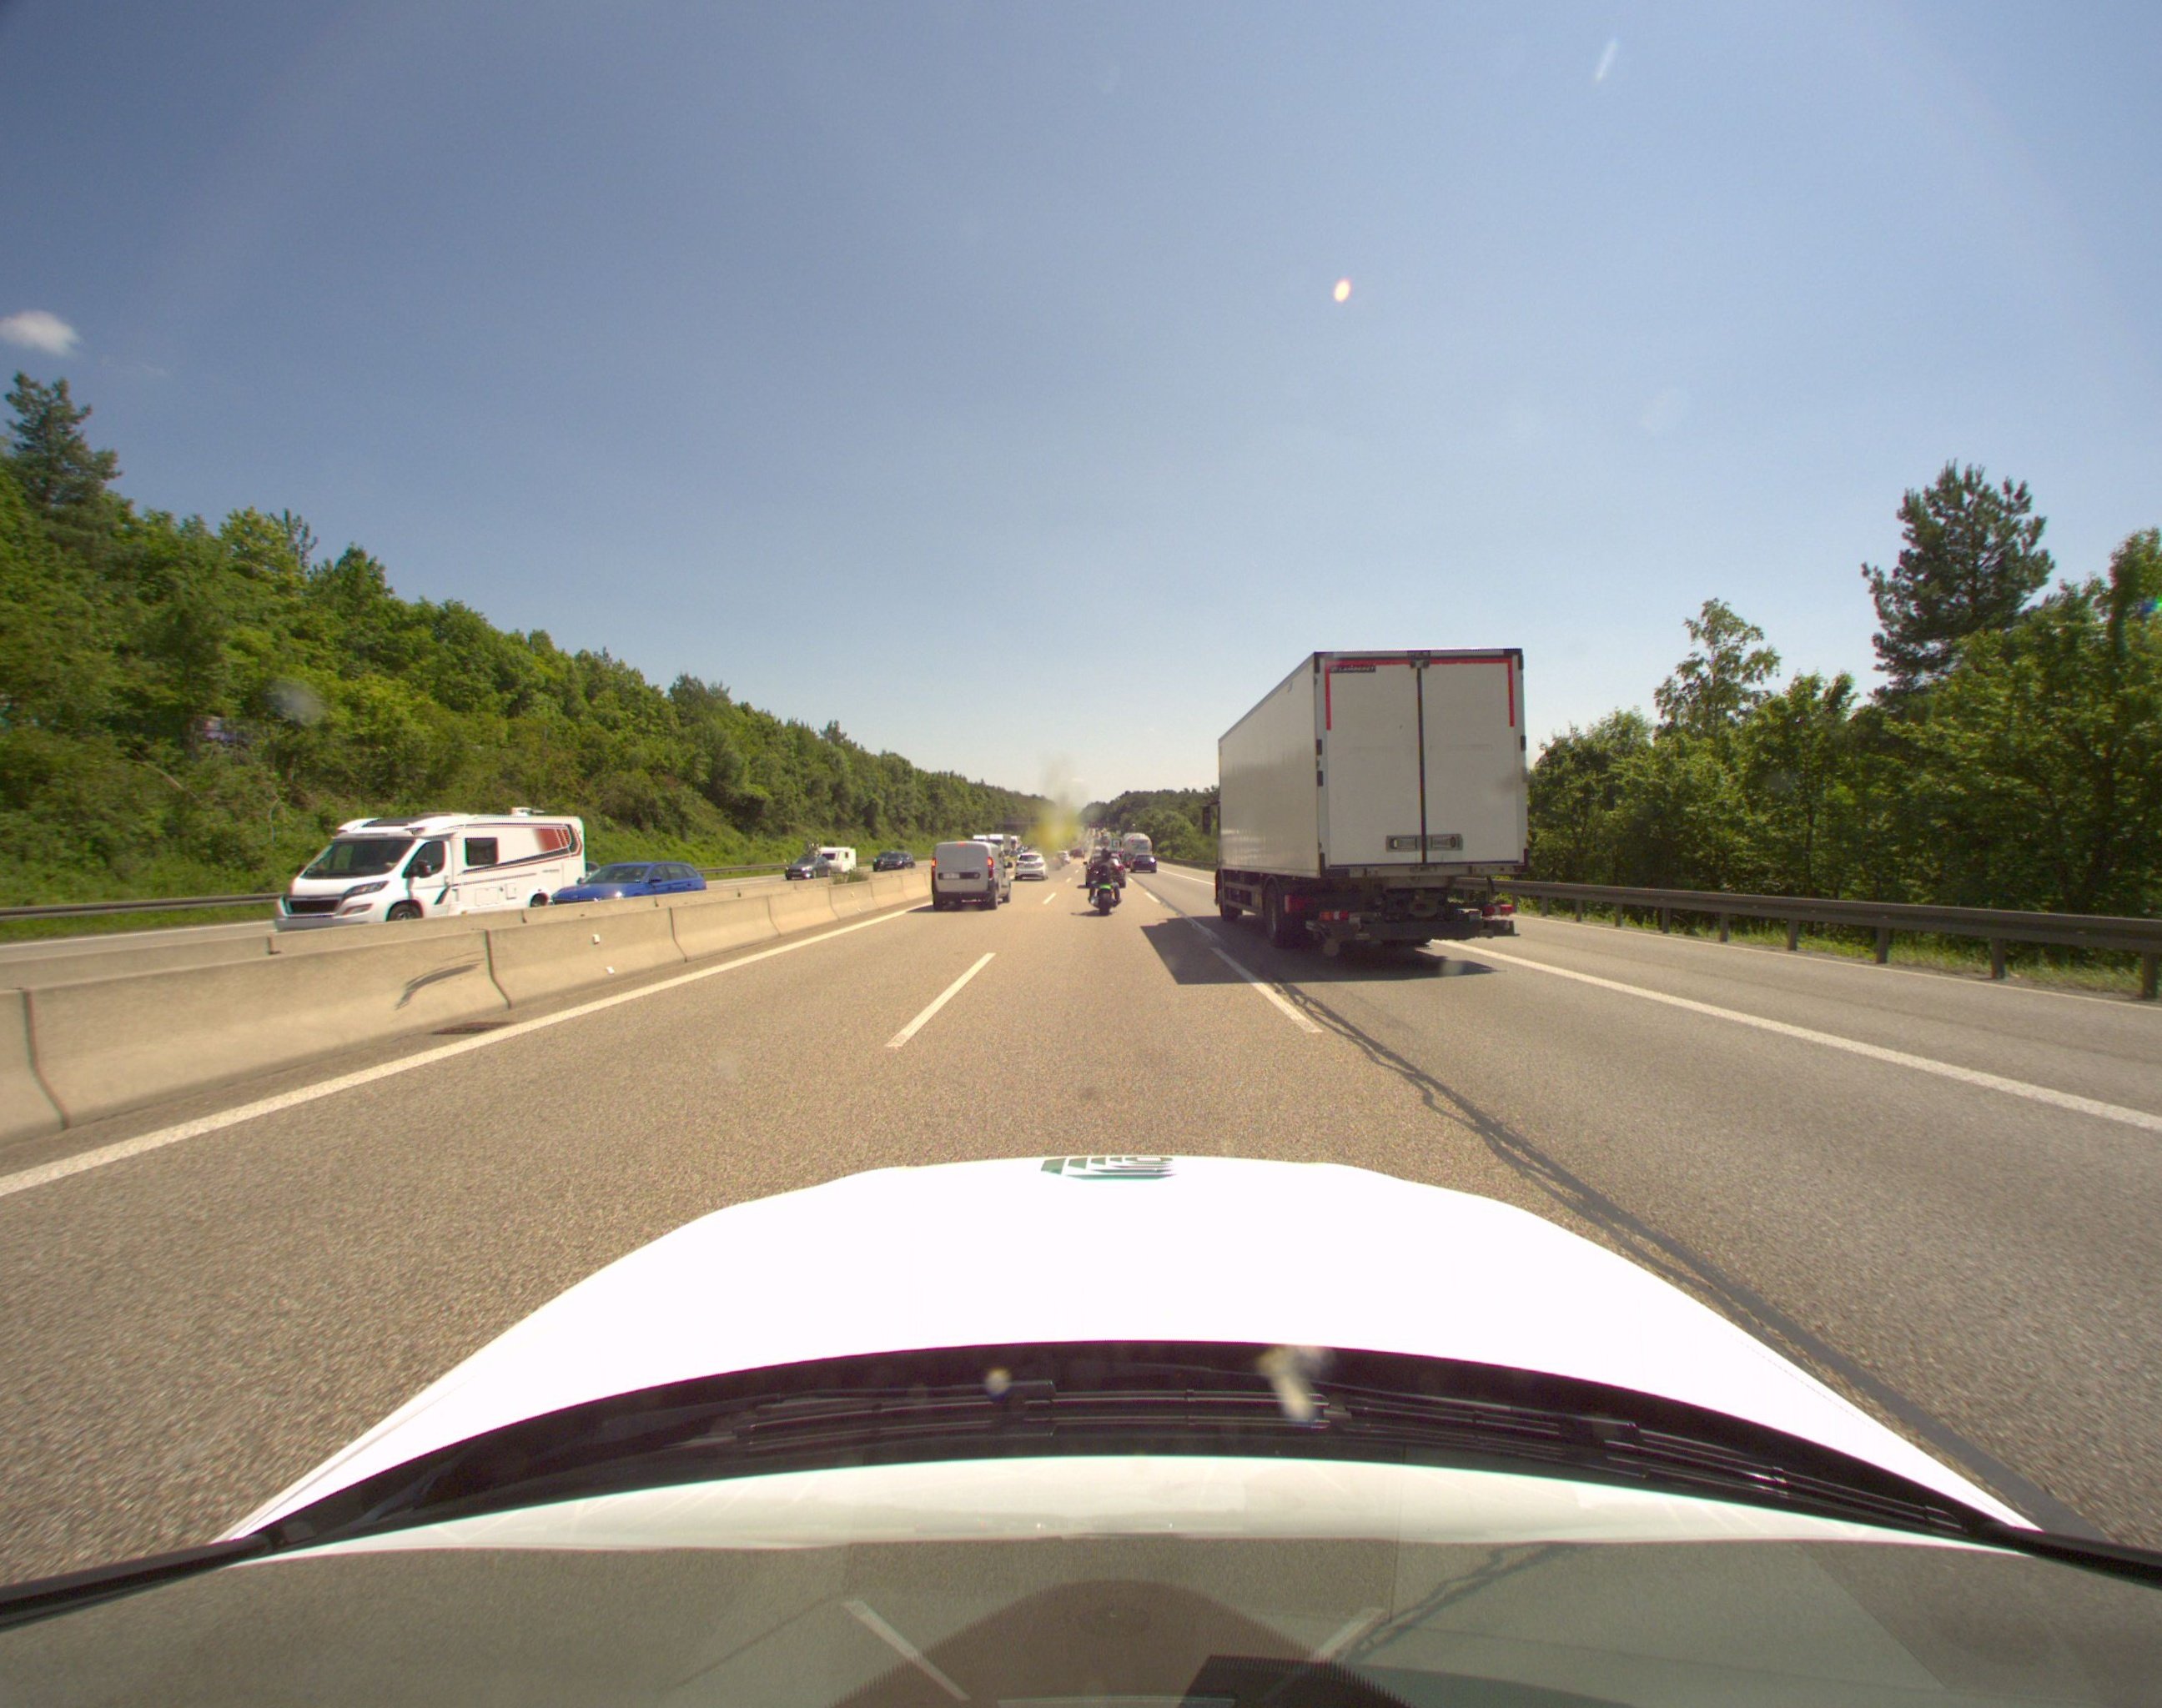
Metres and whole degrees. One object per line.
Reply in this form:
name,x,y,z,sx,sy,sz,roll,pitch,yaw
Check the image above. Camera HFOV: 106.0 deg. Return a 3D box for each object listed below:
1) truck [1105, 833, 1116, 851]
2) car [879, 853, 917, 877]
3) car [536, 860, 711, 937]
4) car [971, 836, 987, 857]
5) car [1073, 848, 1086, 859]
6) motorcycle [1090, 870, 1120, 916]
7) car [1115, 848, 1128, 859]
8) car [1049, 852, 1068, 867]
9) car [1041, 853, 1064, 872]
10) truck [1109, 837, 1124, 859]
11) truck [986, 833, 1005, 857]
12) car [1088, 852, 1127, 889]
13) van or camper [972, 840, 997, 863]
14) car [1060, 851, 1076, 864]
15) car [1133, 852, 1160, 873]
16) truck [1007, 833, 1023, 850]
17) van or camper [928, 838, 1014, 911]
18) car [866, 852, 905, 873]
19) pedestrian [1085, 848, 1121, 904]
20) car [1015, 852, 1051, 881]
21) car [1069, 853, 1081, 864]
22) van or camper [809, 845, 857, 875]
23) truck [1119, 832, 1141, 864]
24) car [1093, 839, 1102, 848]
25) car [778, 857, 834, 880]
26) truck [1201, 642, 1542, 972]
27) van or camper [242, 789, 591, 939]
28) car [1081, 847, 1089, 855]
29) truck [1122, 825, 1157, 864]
truck,8.748,-3.437,239.787,3.022,5.139,9.985,2,1,1
car,-13.196,0.770,58.882,1.687,1.683,4.197,-1,0,1
car,-10.554,0.948,19.183,1.705,1.538,4.129,-1,0,1
car,-19.401,-1.392,155.284,2.440,3.873,4.566,-1,0,1
car,-0.230,-0.121,134.132,1.873,1.859,4.001,1,0,1
motorcycle,0.616,0.954,20.530,0.689,1.015,2.123,1,0,2
car,6.065,-0.041,121.409,1.781,1.555,3.804,1,1,1
car,-2.271,0.567,83.090,1.693,1.478,4.001,1,1,1
car,-2.286,0.679,66.165,1.693,1.478,4.001,1,1,1
truck,7.671,-1.398,178.200,3.022,4.542,9.985,2,1,1
truck,-15.368,-1.549,146.640,2.830,4.214,5.661,0,0,1
car,1.227,0.693,36.392,1.525,1.510,4.005,-1,0,5
van or camper,-12.484,-0.341,105.793,2.222,2.761,6.839,-1,0,1
car,-1.523,0.389,95.565,1.693,1.478,4.001,1,1,1
car,4.972,0.610,62.603,1.822,1.470,4.001,1,1,1
truck,-16.483,-3.085,203.343,2.791,4.165,7.606,-1,0,3
van or camper,-3.101,0.559,23.797,1.789,1.892,4.161,-1,0,2
car,-16.071,0.649,67.231,1.918,1.639,4.929,-1,0,1
pedestrian,0.564,0.549,20.584,0.846,1.362,0.962,-1,0,2
car,-2.618,0.648,45.176,1.693,1.478,4.001,1,1,1
car,-1.087,0.863,148.456,1.986,2.014,4.001,-1,0,2
van or camper,-17.160,0.388,56.510,2.068,1.976,3.706,-1,0,2
truck,5.465,-0.619,91.912,1.988,3.522,4.748,-1,0,-1
car,4.889,-3.006,241.646,2.495,2.587,5.017,1,1,1
car,-17.246,0.872,51.305,1.794,1.347,4.725,-1,0,1
truck,4.219,-0.575,14.695,2.679,3.876,9.781,-2,0,1
van or camper,-14.445,0.203,18.595,2.262,2.735,6.807,-1,0,1
car,0.996,-0.772,204.331,1.922,2.014,4.001,-1,0,2
truck,5.848,-0.871,82.813,2.977,3.671,9.289,-1,0,1
